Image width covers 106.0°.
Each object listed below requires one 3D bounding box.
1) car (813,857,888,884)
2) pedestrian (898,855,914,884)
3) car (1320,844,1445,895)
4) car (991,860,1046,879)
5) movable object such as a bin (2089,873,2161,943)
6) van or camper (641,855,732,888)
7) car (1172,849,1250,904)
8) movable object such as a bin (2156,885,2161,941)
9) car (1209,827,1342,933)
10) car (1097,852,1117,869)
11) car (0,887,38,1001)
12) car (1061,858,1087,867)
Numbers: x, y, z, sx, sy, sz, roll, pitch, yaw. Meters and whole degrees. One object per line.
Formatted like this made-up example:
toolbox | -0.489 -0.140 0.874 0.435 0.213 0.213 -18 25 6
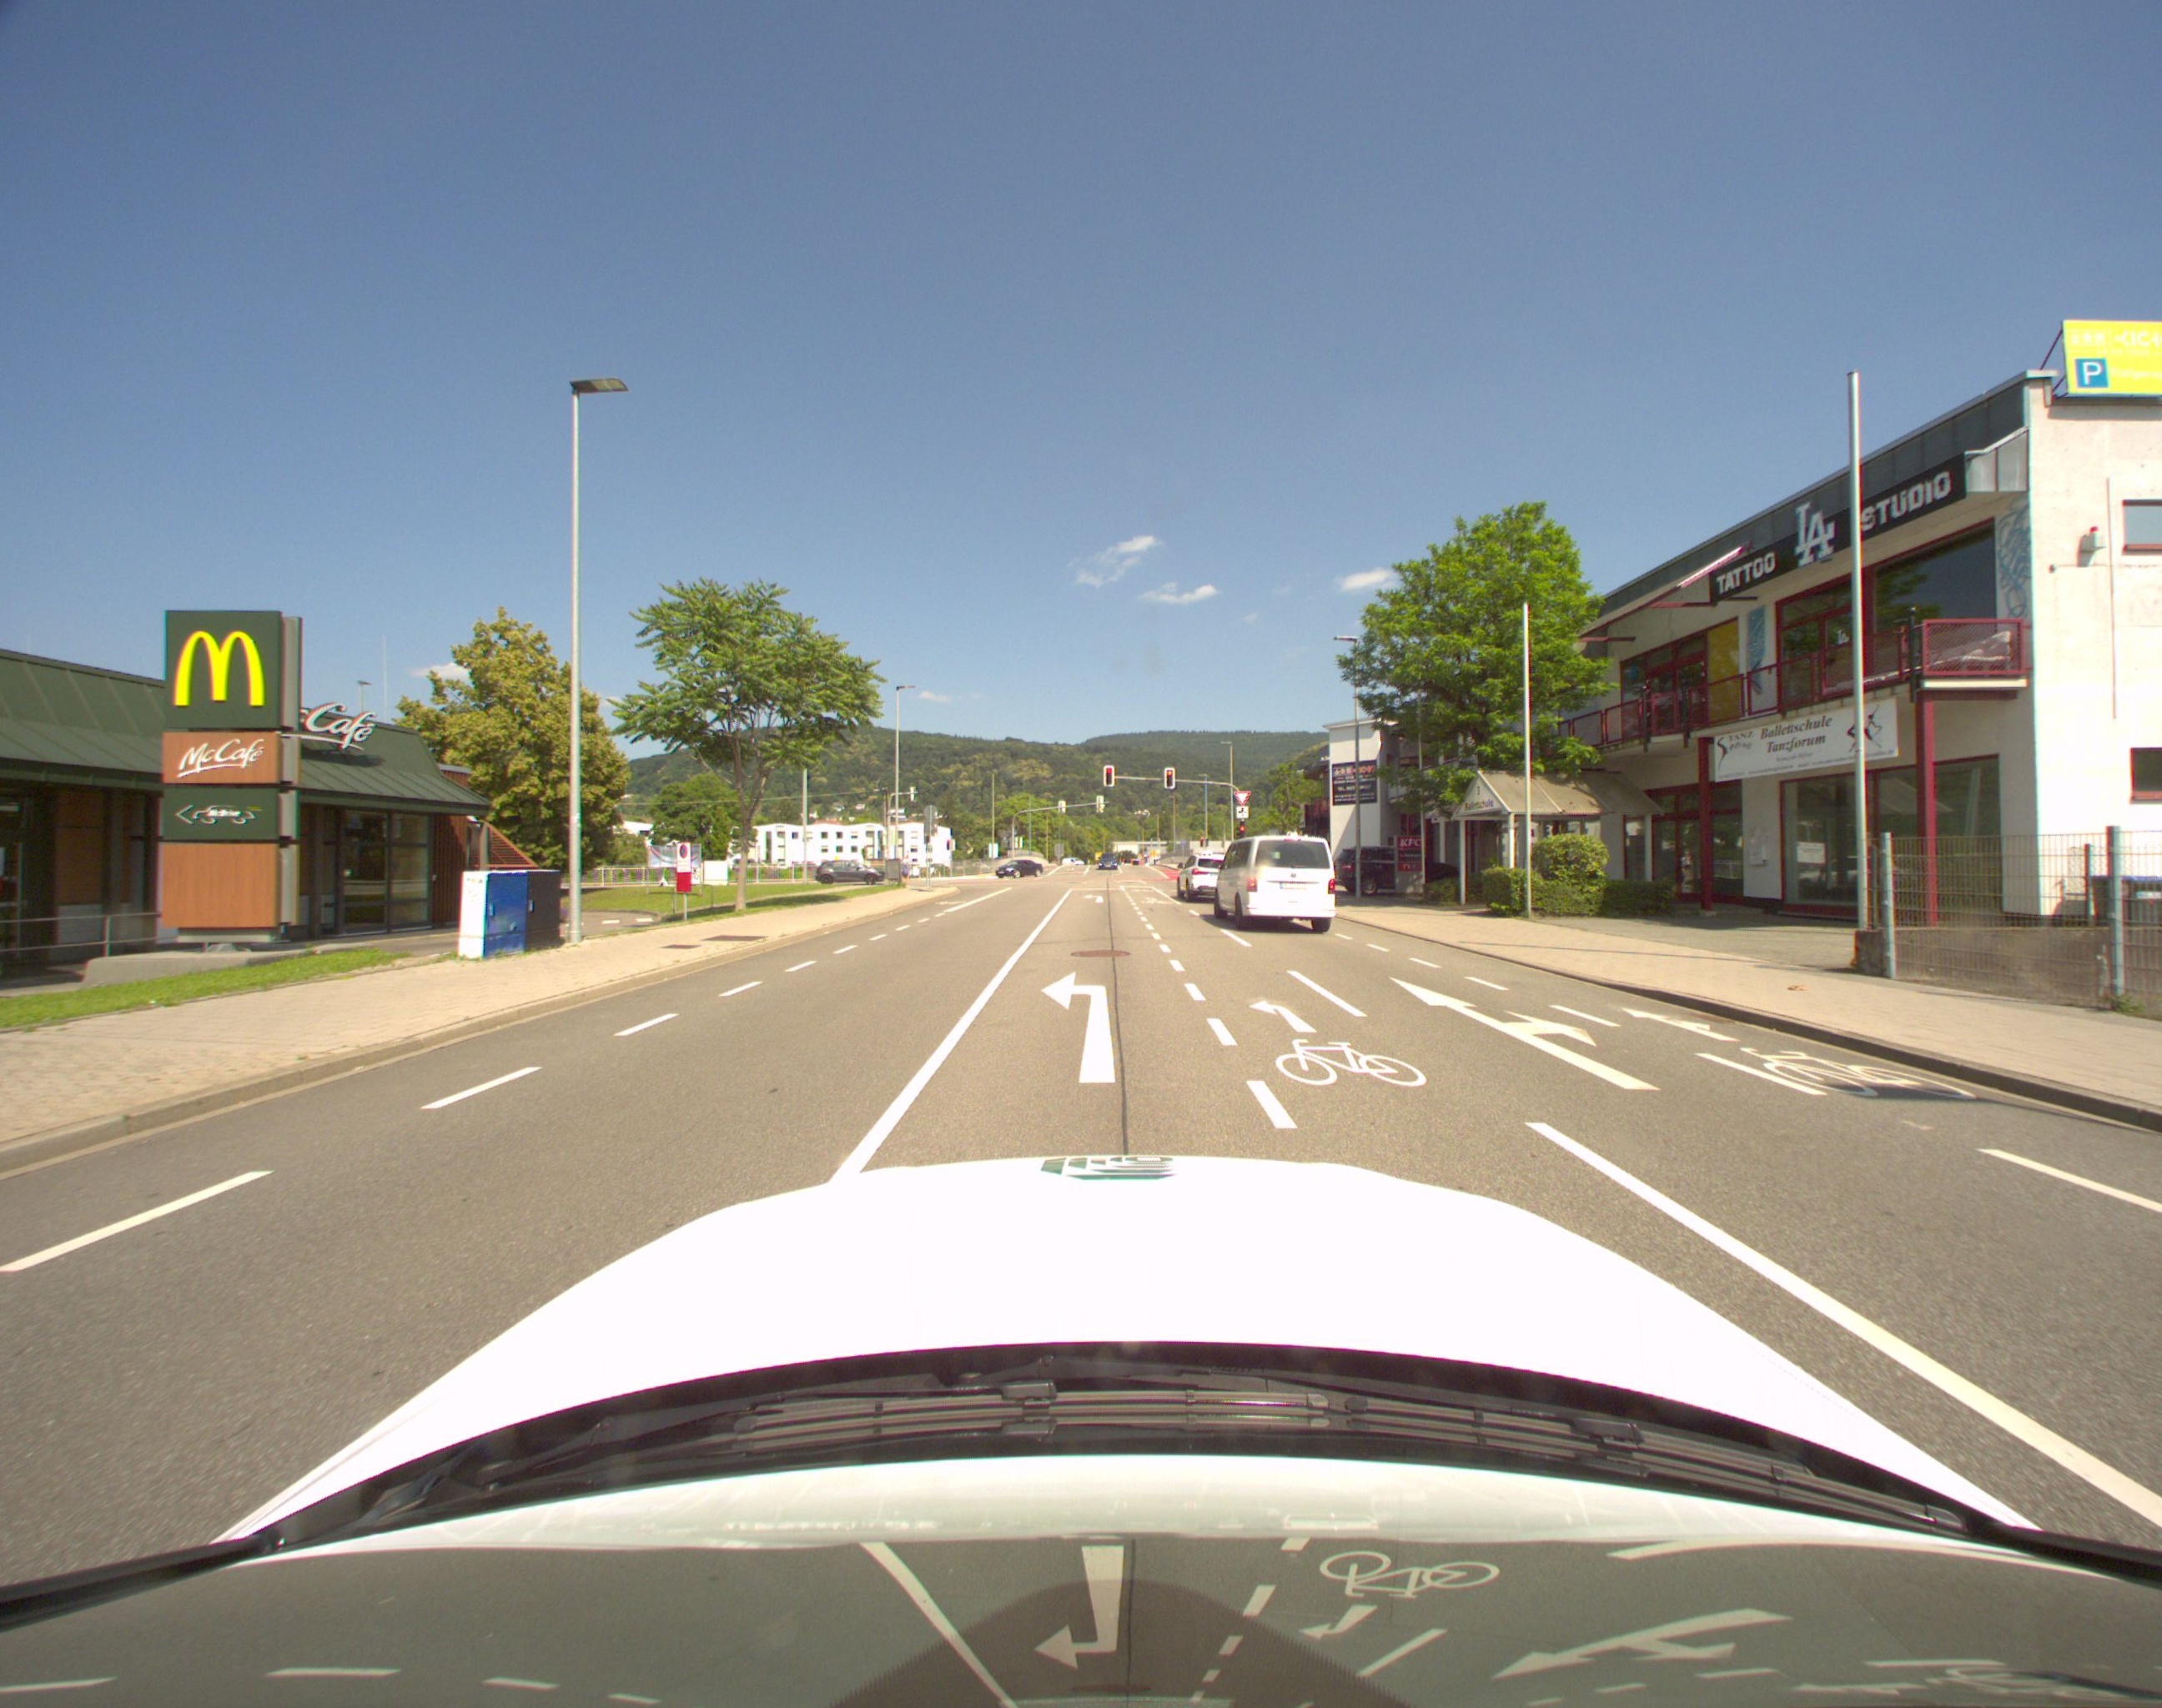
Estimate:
car | -14.102 0.990 50.013 4.323 1.592 1.990 -1 0 -15
pedestrian | -9.568 0.864 44.551 0.696 1.573 0.676 0 0 -1
car | 10.992 0.552 29.974 3.965 1.775 2.004 -1 0 7
car | -4.759 1.182 62.452 1.974 1.370 4.354 -1 0 33
movable object such as a bin | 15.775 0.800 12.298 0.410 1.012 0.545 -1 0 3
van or camper | -20.706 0.893 42.908 3.996 1.574 1.989 2 0 -17
car | 4.389 0.705 28.100 1.928 1.686 4.543 2 0 0
movable object such as a bin | 16.514 0.894 12.260 0.266 0.854 0.275 -1 0 3
car | 4.187 0.510 18.279 1.928 2.059 4.544 1 0 0
car | 2.549 0.634 79.442 1.843 1.588 4.002 -1 0 2
car | -14.819 1.127 8.661 1.985 1.416 4.133 2 0 3
car | -1.277 1.461 145.137 4.404 1.588 1.867 -1 0 37
